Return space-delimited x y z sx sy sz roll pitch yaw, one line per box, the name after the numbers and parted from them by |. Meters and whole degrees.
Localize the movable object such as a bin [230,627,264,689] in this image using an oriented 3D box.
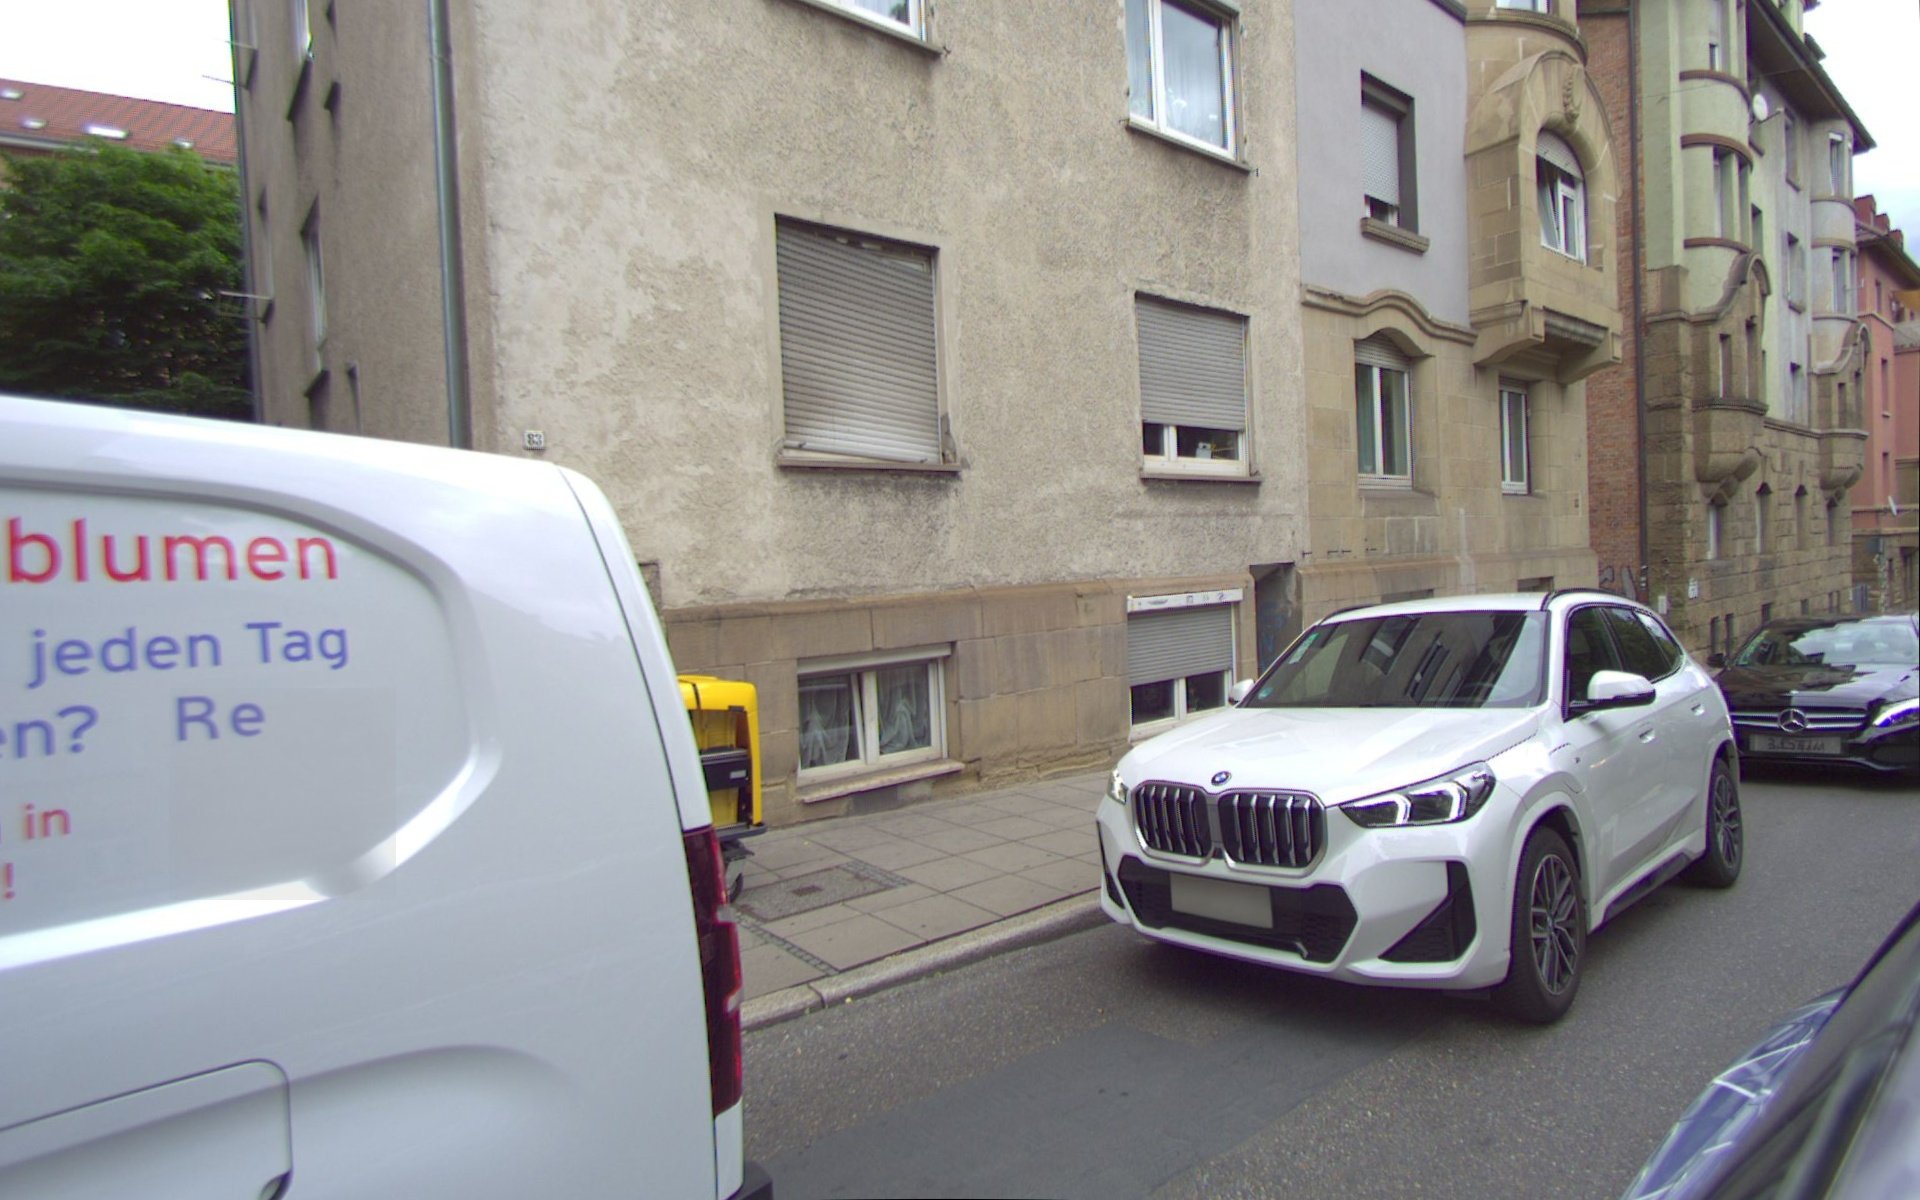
-10.987 0.880 15.590 0.405 0.923 0.340 0 0 -40 | movable object such as a bin

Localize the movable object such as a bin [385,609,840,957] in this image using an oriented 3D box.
-1.802 0.784 5.387 1.979 1.391 1.223 -1 2 -43 | movable object such as a bin

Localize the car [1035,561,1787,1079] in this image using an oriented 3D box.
2.579 0.707 5.226 4.276 1.576 1.857 -1 -4 -42 | car

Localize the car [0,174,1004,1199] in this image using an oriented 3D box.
-2.294 0.560 0.950 4.597 1.798 1.977 -1 -3 -42 | car

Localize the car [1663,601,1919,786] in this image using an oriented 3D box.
8.474 0.746 9.645 4.133 1.395 1.882 -1 -3 -41 | car

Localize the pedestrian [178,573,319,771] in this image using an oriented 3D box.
-6.569 0.624 9.345 0.808 1.666 0.773 0 6 42 | pedestrian

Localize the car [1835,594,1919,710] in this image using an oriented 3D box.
14.456 0.657 14.662 4.226 1.534 1.935 -1 -3 -40 | car
